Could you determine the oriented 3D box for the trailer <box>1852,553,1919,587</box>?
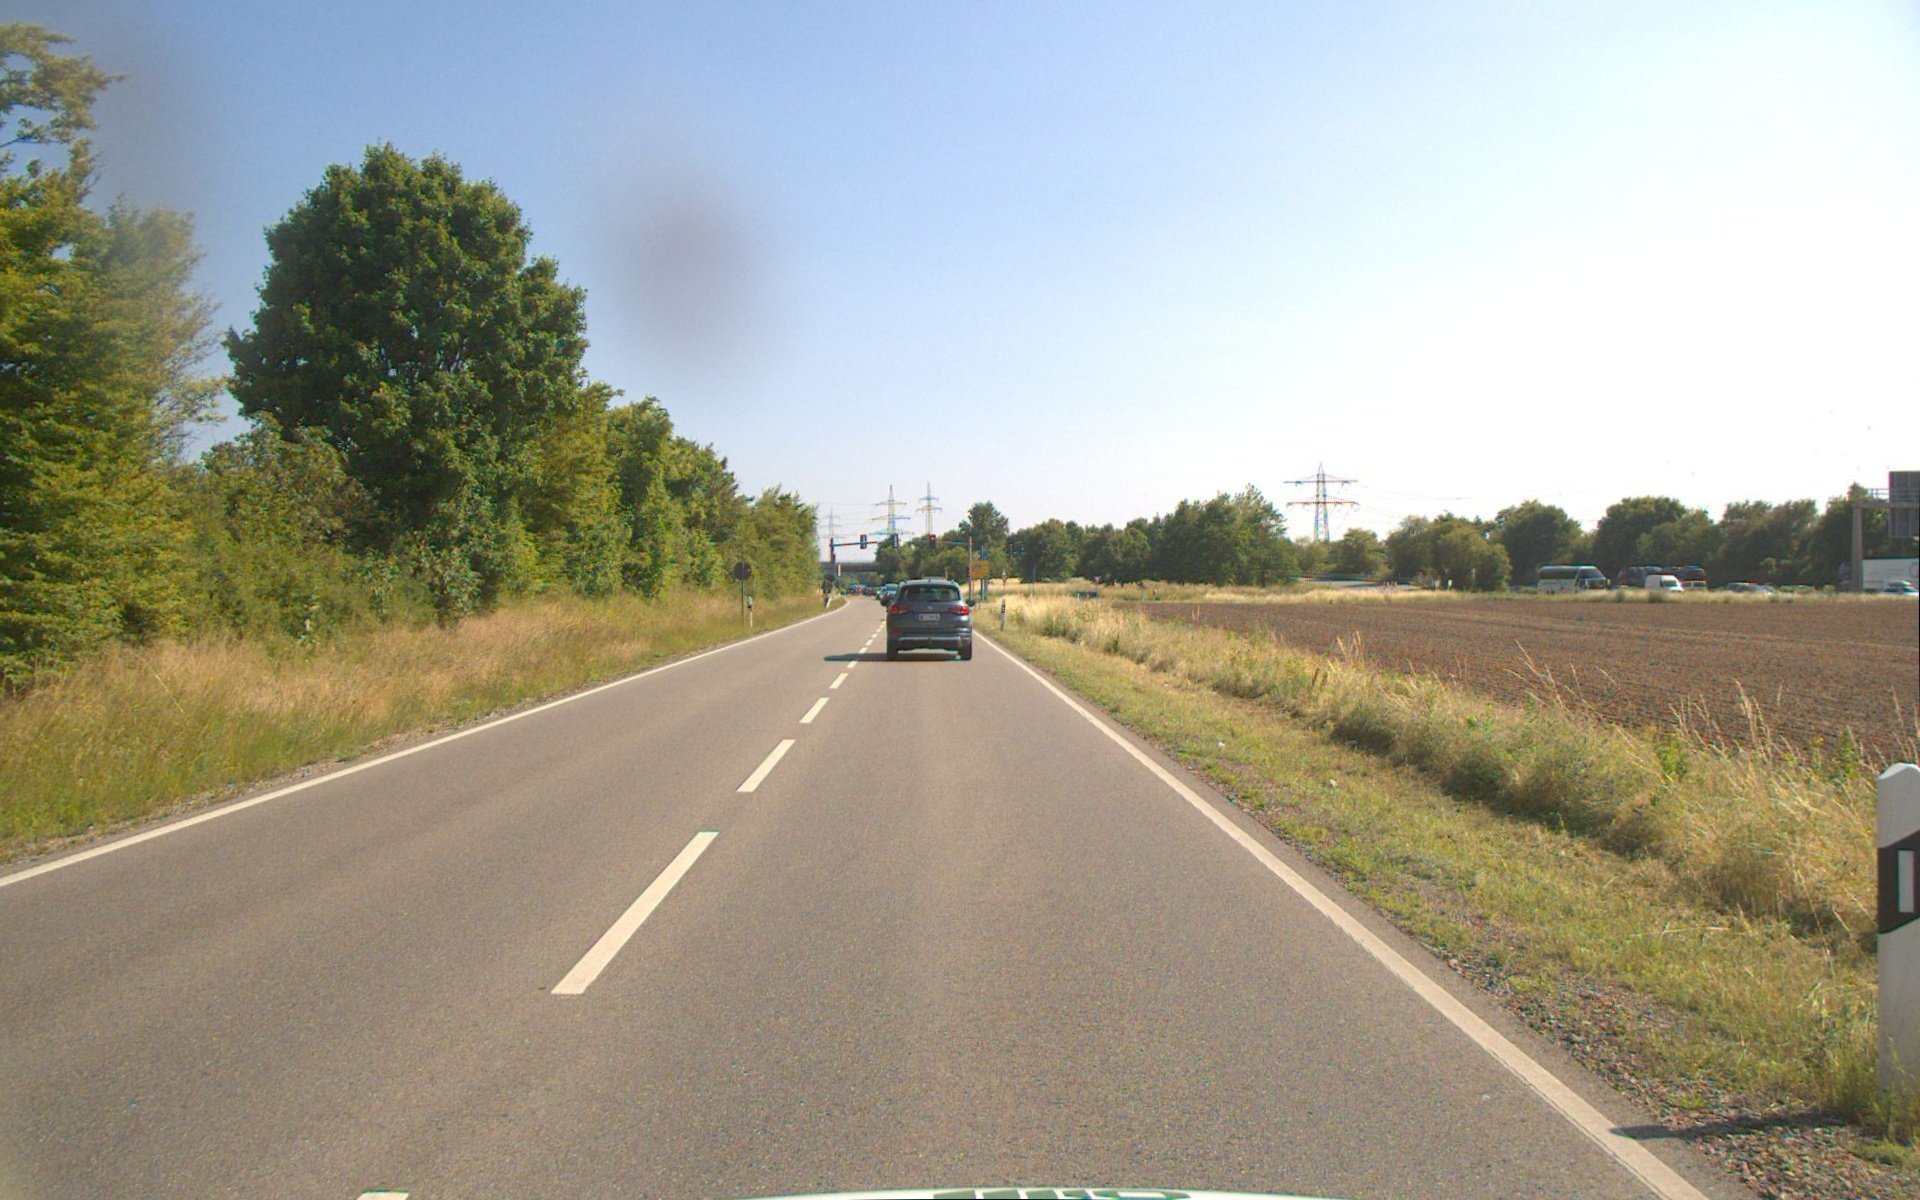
[{"bbox_3d":[94.551,-2.975,165.549,3.219,3.324,12.450,-1,0,-3],"label":"trailer"}]

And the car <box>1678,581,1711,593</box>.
[{"bbox_3d":[86.557,-1.532,194.957,1.813,1.409,4.247,1,1,-2],"label":"car"}]

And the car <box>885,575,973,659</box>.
[{"bbox_3d":[-0.675,0.311,34.814,1.749,1.657,3.999,0,1,-2],"label":"car"}]

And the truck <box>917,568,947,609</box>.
[{"bbox_3d":[-2.163,-0.844,129.763,2.290,3.120,5.808,0,0,-1],"label":"truck"}]

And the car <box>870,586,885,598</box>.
[{"bbox_3d":[-9.902,-0.960,198.711,1.651,1.404,3.530,0,1,-5],"label":"car"}]

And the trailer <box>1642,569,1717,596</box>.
[{"bbox_3d":[91.390,-2.286,210.363,3.218,3.324,13.447,0,1,-3],"label":"trailer"}]

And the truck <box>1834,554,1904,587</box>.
[{"bbox_3d":[94.240,-3.004,171.566,3.219,3.324,6.975,-1,0,-3],"label":"truck"}]

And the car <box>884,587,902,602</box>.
[{"bbox_3d":[-7.280,-0.596,178.908,1.781,1.567,3.996,0,1,-5],"label":"car"}]
